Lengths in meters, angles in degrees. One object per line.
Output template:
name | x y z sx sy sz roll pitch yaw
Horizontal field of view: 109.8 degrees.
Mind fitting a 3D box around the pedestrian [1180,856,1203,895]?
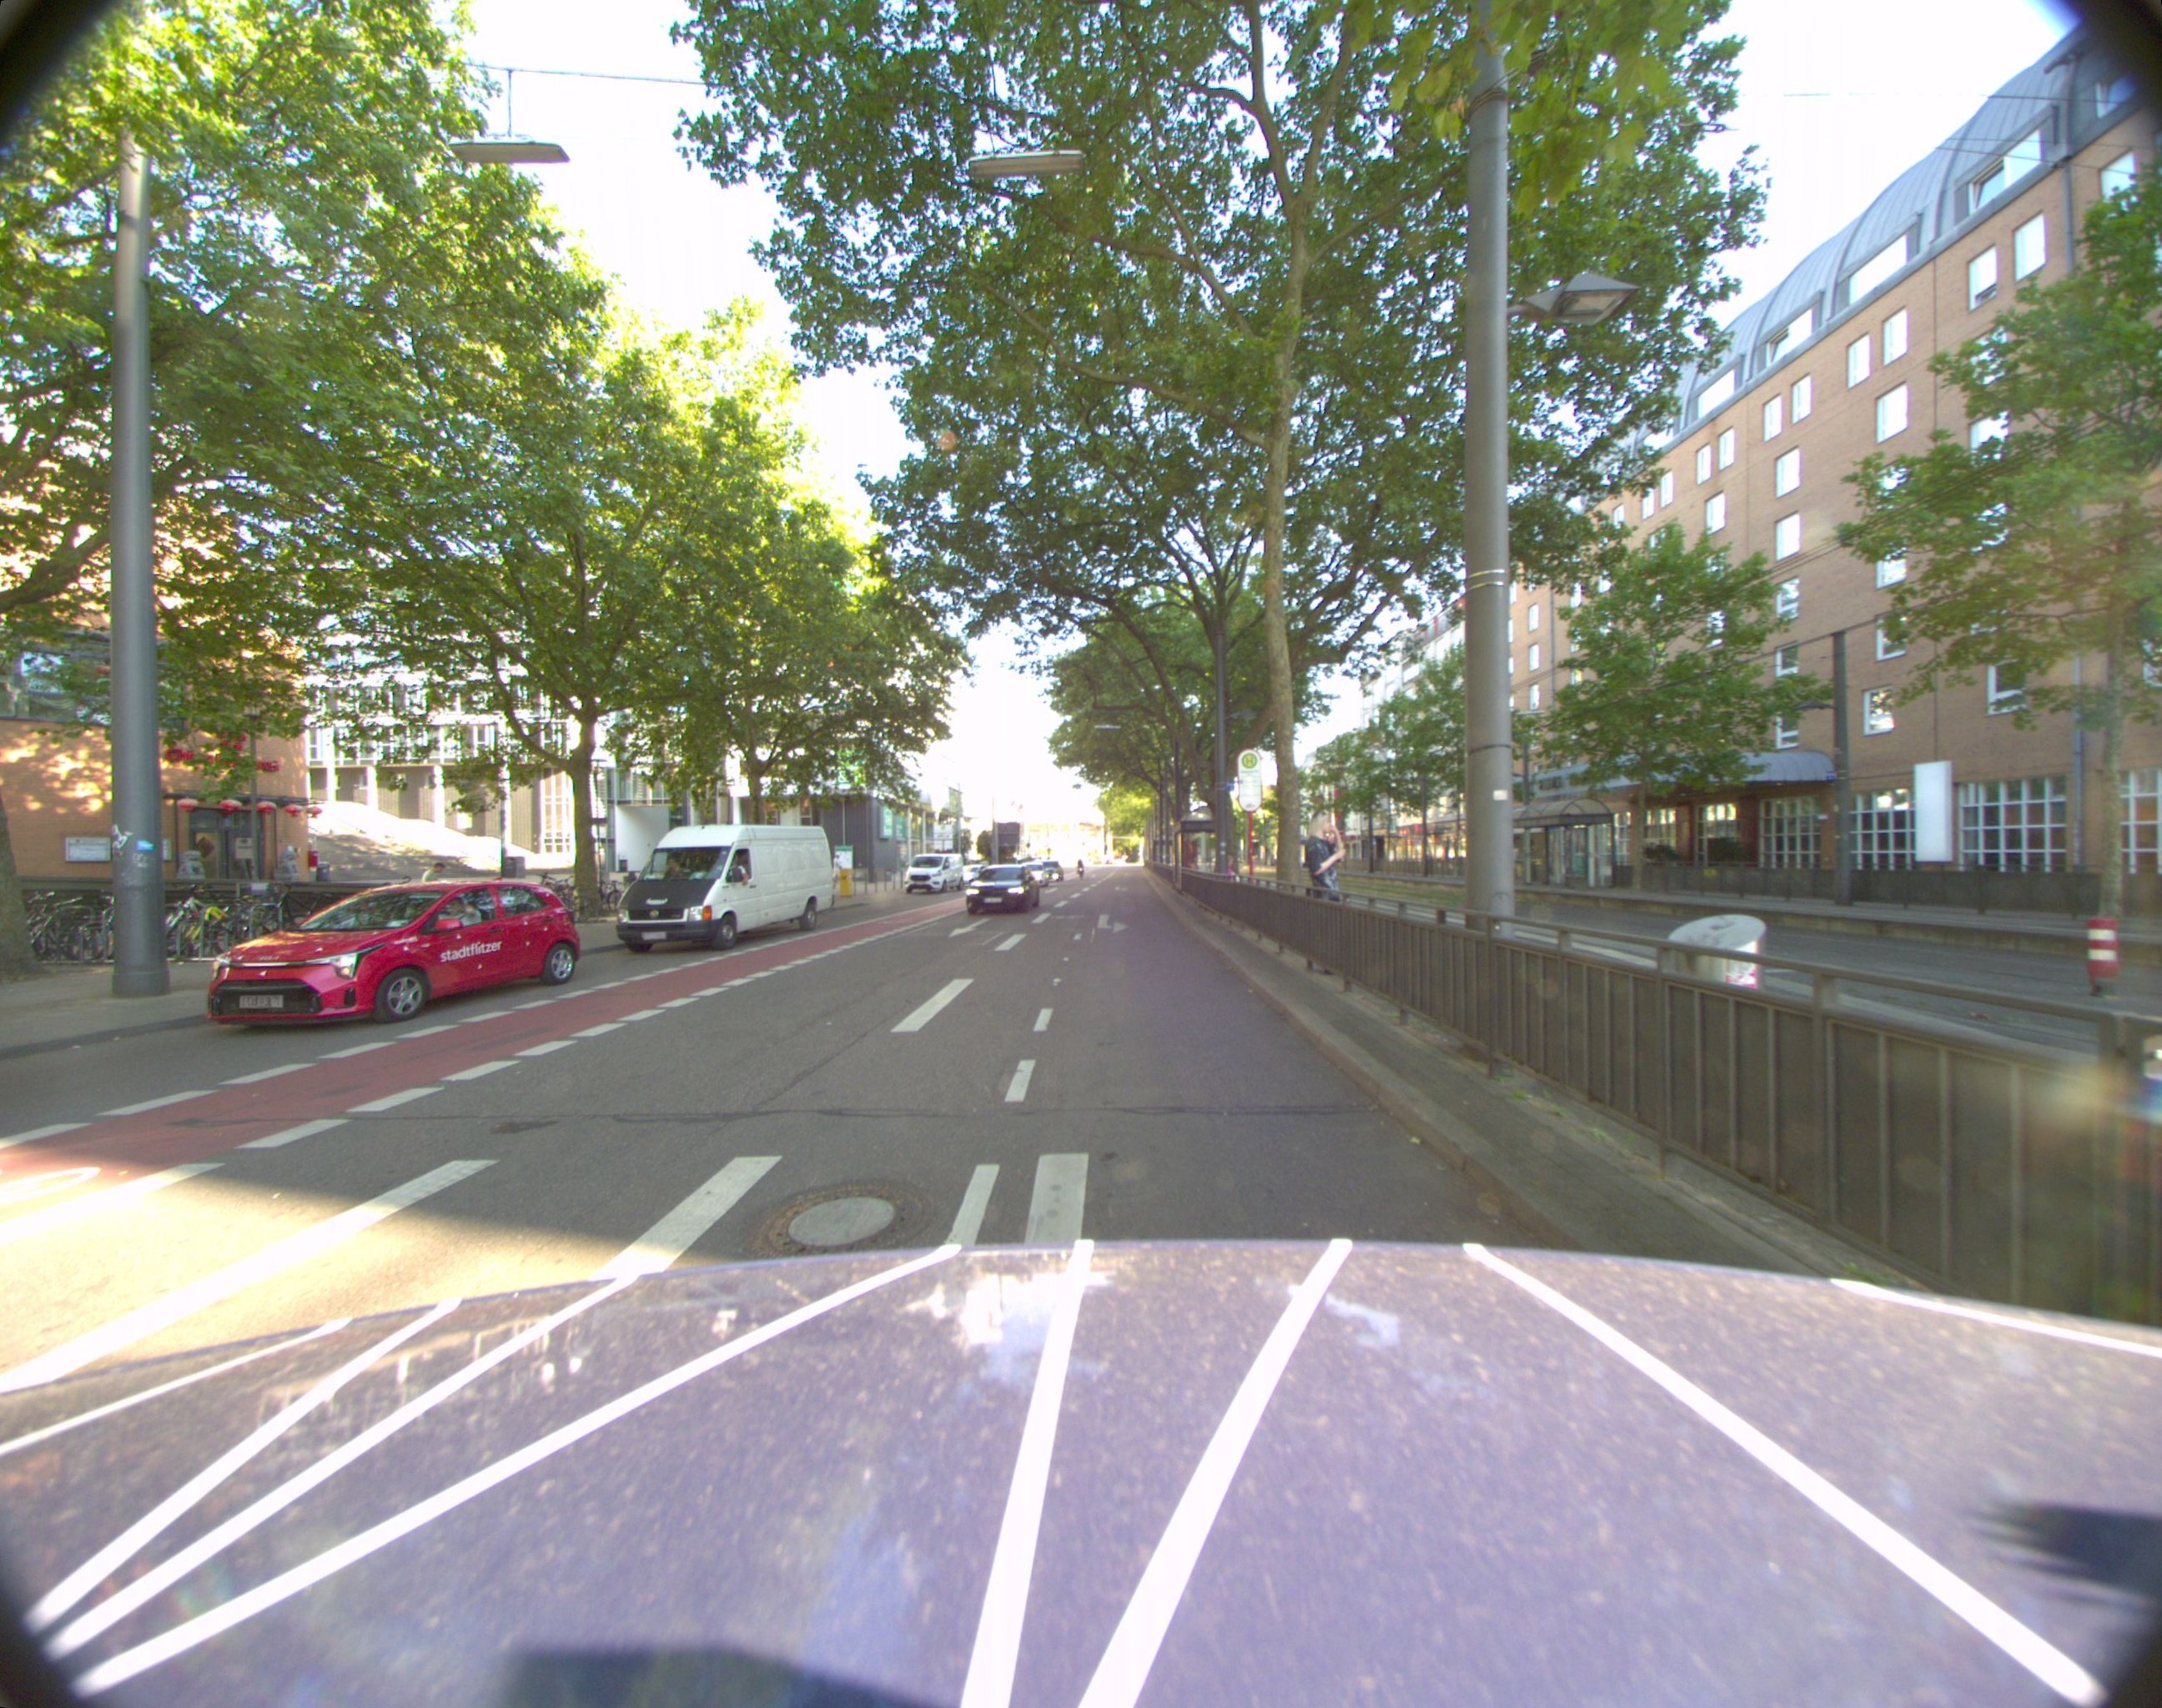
pedestrian | 3.988 0.774 27.518 0.735 1.379 0.640 -2 1 6

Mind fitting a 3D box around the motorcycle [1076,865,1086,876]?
motorcycle | -0.003 1.271 59.036 0.667 0.843 2.223 0 0 4

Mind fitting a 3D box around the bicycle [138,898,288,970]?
bicycle | -14.551 1.312 12.805 0.597 1.026 1.655 0 0 1

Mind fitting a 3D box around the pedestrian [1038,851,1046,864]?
pedestrian | -4.829 0.435 93.612 0.753 1.565 0.912 -1 1 6

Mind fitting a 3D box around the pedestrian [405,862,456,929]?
pedestrian | -16.245 1.026 18.991 0.718 1.622 0.636 0 1 7

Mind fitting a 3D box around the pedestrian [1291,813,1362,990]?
pedestrian | 2.743 0.510 8.556 0.511 1.889 0.760 -2 1 2

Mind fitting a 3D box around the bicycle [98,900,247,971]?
bicycle | -15.243 1.337 12.815 0.503 1.026 1.655 0 0 1

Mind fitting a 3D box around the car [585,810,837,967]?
car | -7.581 0.604 16.681 1.998 2.708 6.562 -2 0 2

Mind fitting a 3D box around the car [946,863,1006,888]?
car | -6.318 1.271 46.253 1.783 1.411 4.028 0 0 23

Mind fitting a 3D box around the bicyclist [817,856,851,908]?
bicyclist | -8.106 0.911 24.963 0.750 1.678 0.716 0 1 32

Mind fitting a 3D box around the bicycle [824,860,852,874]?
bicycle | -18.544 0.984 57.961 1.879 1.057 0.700 0 1 2

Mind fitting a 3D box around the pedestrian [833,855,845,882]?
pedestrian | -15.455 0.931 48.503 0.541 1.666 0.721 -1 1 -36

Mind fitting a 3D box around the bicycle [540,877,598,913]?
bicycle | -16.089 1.278 23.931 0.597 1.041 1.655 0 0 4

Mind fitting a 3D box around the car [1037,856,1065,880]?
car | -2.170 1.009 56.510 1.785 1.628 4.022 0 0 2

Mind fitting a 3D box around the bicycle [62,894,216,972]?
bicycle | -15.834 1.291 12.834 0.503 1.130 1.655 0 0 1

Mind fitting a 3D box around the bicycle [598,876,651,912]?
bicycle | -14.655 1.268 24.461 0.597 1.041 1.655 0 0 4

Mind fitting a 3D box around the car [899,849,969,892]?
car | -7.609 0.813 40.003 2.127 2.121 5.292 0 0 6

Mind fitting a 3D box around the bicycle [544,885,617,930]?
bicycle | -12.867 1.345 19.587 0.596 1.041 1.656 0 0 9

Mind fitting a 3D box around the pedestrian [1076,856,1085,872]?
pedestrian | -0.023 0.771 59.152 0.665 1.218 0.775 0 1 4

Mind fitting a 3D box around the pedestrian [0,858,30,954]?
pedestrian | -19.996 0.943 13.655 0.788 1.747 1.020 0 1 6

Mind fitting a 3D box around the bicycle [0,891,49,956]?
bicycle | -20.021 1.287 13.594 0.577 1.153 1.771 0 0 8

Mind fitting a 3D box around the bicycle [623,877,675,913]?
bicycle | -13.772 1.297 24.266 0.597 1.041 1.655 0 0 4

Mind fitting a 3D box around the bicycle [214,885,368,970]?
bicycle | -13.225 1.188 12.808 0.597 1.257 1.876 0 0 1

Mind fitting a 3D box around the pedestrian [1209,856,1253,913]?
pedestrian | 3.793 0.762 19.250 0.979 1.392 0.664 -2 1 6

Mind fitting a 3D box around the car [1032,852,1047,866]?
car | -6.041 0.730 110.541 1.999 1.856 3.999 -2 1 -1

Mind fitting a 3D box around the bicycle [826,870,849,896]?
bicycle | -11.452 1.353 35.776 0.514 1.151 1.540 -1 0 3

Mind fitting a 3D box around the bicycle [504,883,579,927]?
bicycle | -14.068 1.302 19.880 0.596 1.041 1.656 0 0 9

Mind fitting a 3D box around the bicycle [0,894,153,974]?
bicycle | -16.868 1.298 12.714 0.479 1.153 1.694 0 0 5

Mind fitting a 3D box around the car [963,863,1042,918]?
car | -2.364 1.073 23.865 1.827 1.416 4.346 -2 0 2

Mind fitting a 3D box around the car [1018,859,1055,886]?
car | -2.598 1.071 45.334 1.670 1.455 3.870 0 0 5

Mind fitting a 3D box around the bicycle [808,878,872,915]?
bicycle | -7.950 1.382 25.152 0.550 1.114 2.131 0 0 33

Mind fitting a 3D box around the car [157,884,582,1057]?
car | -7.956 1.180 9.035 1.562 1.455 3.621 -2 0 1

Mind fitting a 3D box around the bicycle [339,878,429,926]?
bicycle | -17.794 1.193 19.444 0.596 1.119 1.656 0 0 9

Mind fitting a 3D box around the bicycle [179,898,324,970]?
bicycle | -13.879 1.304 12.792 0.597 1.026 1.655 0 0 1

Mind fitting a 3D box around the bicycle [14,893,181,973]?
bicycle | -16.315 1.275 12.673 0.479 1.153 1.694 0 0 5

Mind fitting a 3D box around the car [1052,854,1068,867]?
car | -3.045 0.894 110.939 1.998 1.681 3.999 -2 1 1
